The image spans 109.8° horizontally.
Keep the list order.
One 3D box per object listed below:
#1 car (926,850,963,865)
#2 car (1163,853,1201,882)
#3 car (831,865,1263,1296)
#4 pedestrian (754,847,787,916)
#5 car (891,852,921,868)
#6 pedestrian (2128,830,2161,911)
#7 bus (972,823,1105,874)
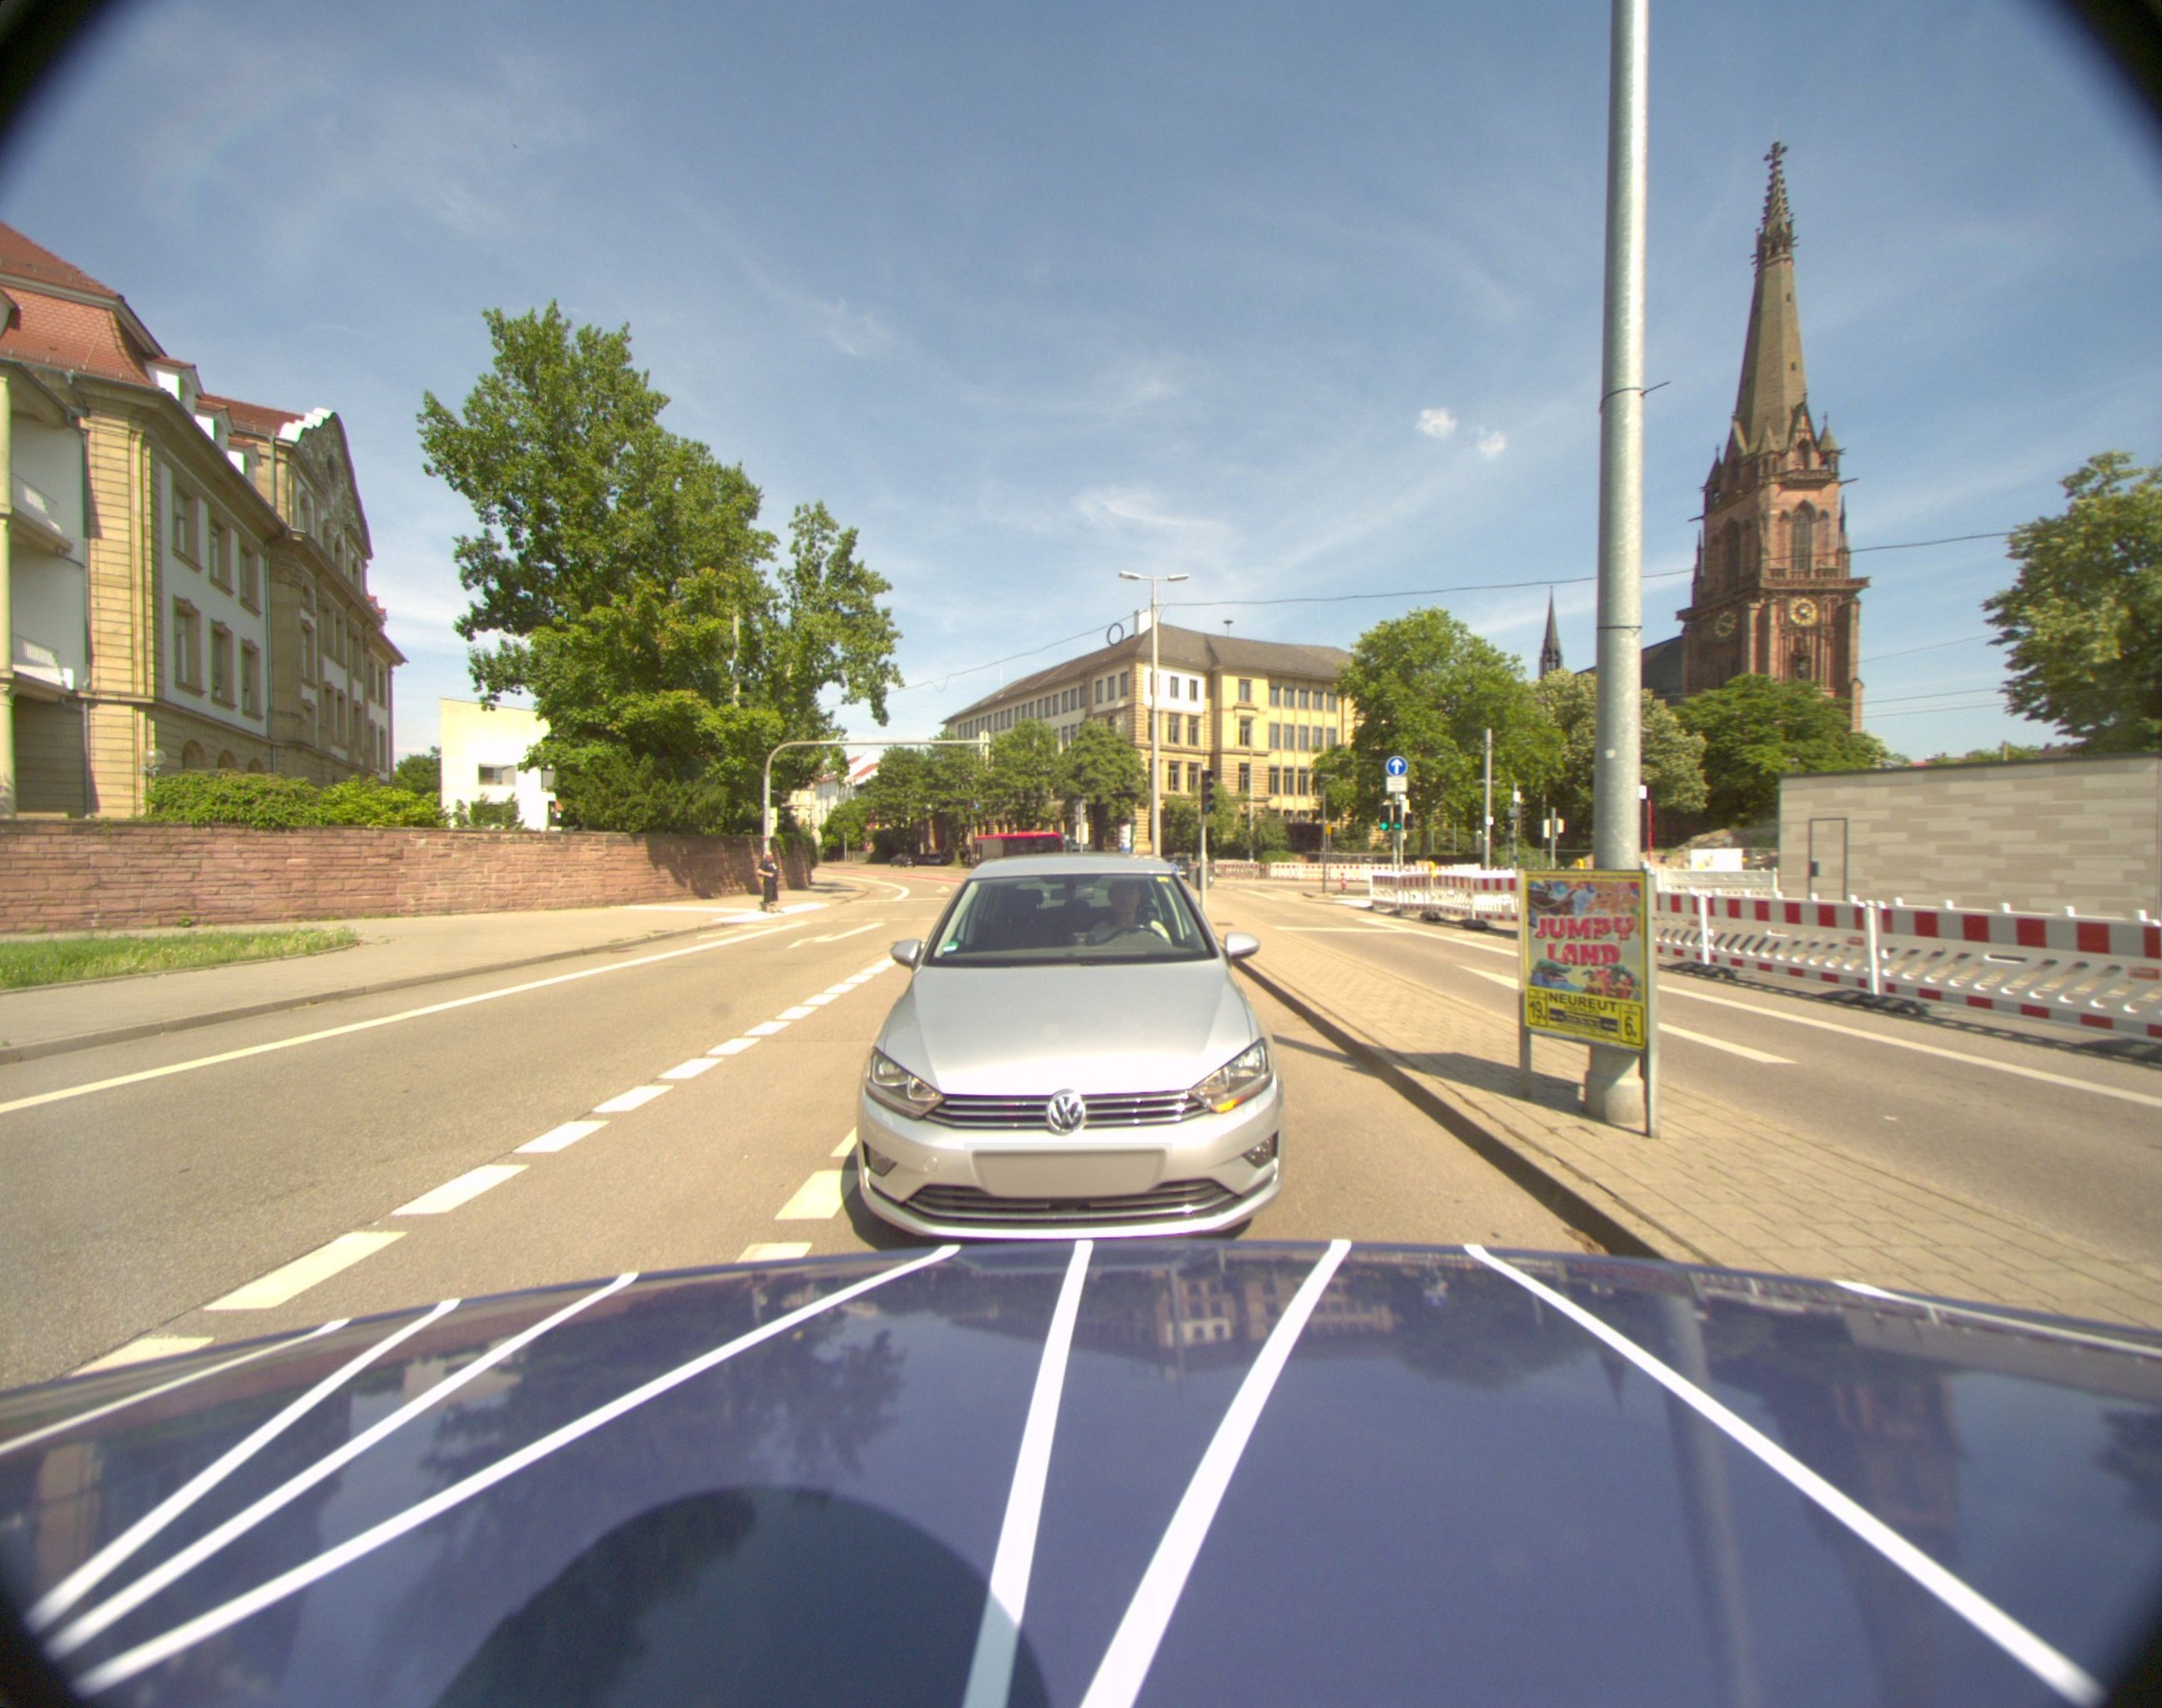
[{"bbox_3d":[-16.770,0.422,93.630,4.006,1.653,1.994,-3,4,-35],"label":"car"},{"bbox_3d":[5.741,0.739,43.593,1.665,1.565,3.632,1,0,0],"label":"car"},{"bbox_3d":[-0.041,0.913,5.051,1.687,1.577,4.152,0,0,3],"label":"car"},{"bbox_3d":[-9.166,0.788,22.450,0.796,2.002,0.615,0,1,-14],"label":"pedestrian"},{"bbox_3d":[-19.134,0.699,82.906,2.003,1.608,3.990,-3,1,-31],"label":"car"},{"bbox_3d":[26.921,0.402,18.860,0.820,2.002,0.686,1,1,3],"label":"pedestrian"},{"bbox_3d":[-3.323,-0.284,52.792,3.138,3.076,12.382,-3,1,-34],"label":"bus"}]
